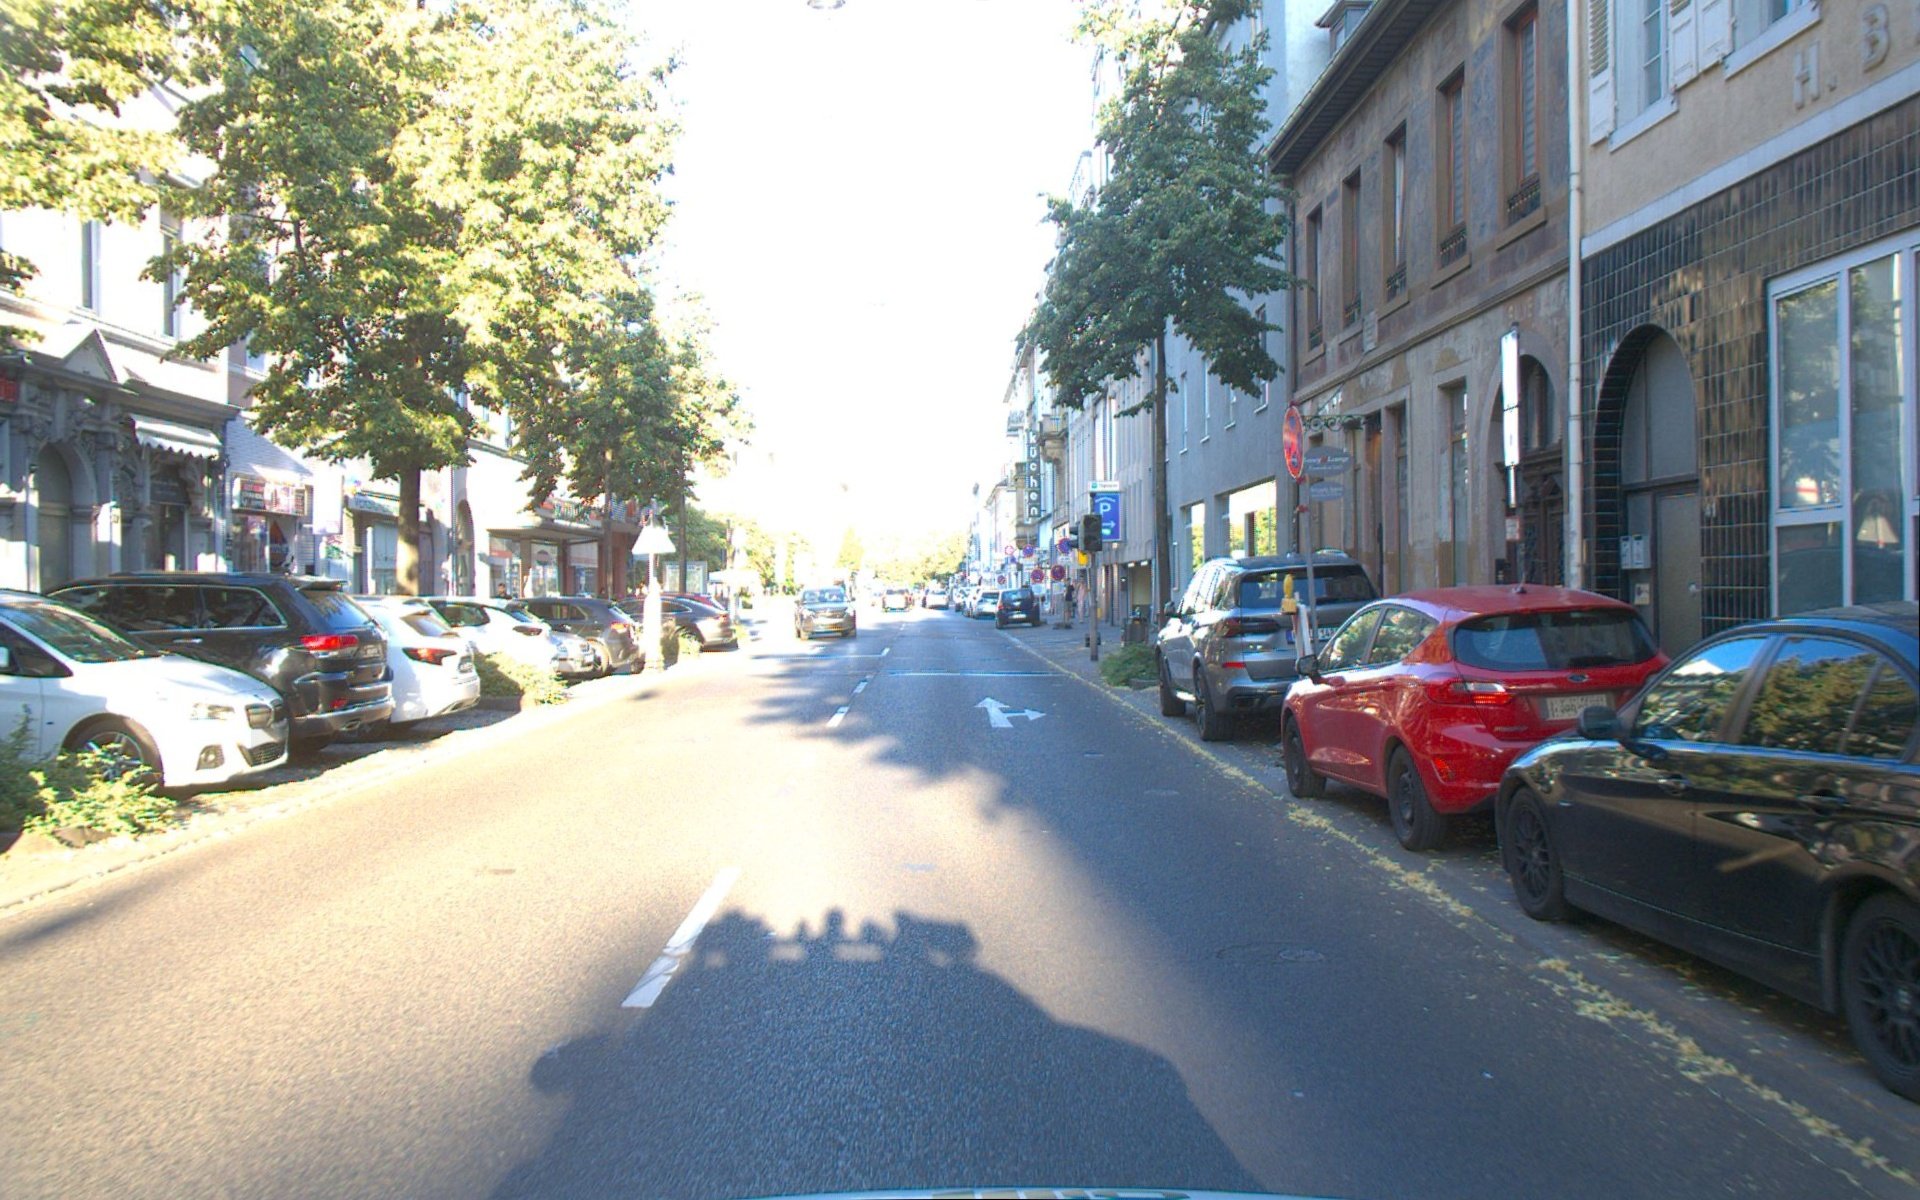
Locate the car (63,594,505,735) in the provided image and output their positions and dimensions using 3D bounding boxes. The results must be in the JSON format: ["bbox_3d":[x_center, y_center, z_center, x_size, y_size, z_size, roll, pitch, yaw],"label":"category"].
[{"bbox_3d":[-7.215,0.669,17.988,4.067,1.446,1.766,0,0,-4],"label":"car"}]

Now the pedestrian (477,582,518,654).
[{"bbox_3d":[-11.373,0.439,40.707,0.756,1.751,0.875,1,-1,-1],"label":"pedestrian"}]

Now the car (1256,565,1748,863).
[{"bbox_3d":[3.289,0.596,10.885,1.695,1.513,3.897,-3,1,-4],"label":"car"}]

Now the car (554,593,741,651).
[{"bbox_3d":[-7.975,0.545,42.484,4.479,1.432,1.821,0,0,-3],"label":"car"}]

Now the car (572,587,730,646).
[{"bbox_3d":[-8.449,0.440,45.522,3.990,1.563,1.884,0,0,-1],"label":"car"}]

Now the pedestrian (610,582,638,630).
[{"bbox_3d":[-11.108,0.211,54.656,0.719,1.555,0.875,1,-1,-1],"label":"pedestrian"}]

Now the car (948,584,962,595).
[{"bbox_3d":[-0.765,-1.494,236.813,1.858,1.608,3.850,-2,0,-2],"label":"car"}]

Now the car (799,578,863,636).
[{"bbox_3d":[-4.180,0.194,54.060,1.823,1.721,4.459,-1,2,-2],"label":"car"}]

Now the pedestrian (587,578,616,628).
[{"bbox_3d":[-11.796,0.105,54.480,0.756,1.636,0.875,1,-1,-1],"label":"pedestrian"}]

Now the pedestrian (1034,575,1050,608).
[{"bbox_3d":[4.433,-0.486,89.384,0.757,1.741,1.041,-2,0,-2],"label":"pedestrian"}]

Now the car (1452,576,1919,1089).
[{"bbox_3d":[3.627,0.656,6.272,1.913,1.414,4.421,-3,1,-4],"label":"car"}]

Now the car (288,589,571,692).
[{"bbox_3d":[-7.803,0.577,24.619,3.664,1.469,1.804,0,0,-4],"label":"car"}]

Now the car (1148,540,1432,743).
[{"bbox_3d":[3.315,0.357,17.636,1.997,1.767,4.711,-3,1,0],"label":"car"}]

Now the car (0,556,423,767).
[{"bbox_3d":[-7.270,0.529,15.195,4.067,1.804,1.889,0,0,-4],"label":"car"}]

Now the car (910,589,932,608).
[{"bbox_3d":[-3.431,-0.117,145.445,1.858,1.608,3.850,2,0,-2],"label":"car"}]

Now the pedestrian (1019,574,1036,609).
[{"bbox_3d":[3.656,-0.458,89.356,0.757,1.859,1.010,-2,0,-2],"label":"pedestrian"}]

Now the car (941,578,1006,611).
[{"bbox_3d":[0.722,-0.292,91.477,1.967,1.792,4.433,-1,0,-23],"label":"car"}]

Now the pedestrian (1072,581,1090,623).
[{"bbox_3d":[4.684,0.073,64.096,0.592,1.627,0.773,0,0,-2],"label":"pedestrian"}]

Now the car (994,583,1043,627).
[{"bbox_3d":[2.281,0.173,65.328,1.723,1.563,4.000,-4,0,0],"label":"car"}]

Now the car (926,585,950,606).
[{"bbox_3d":[-1.771,-0.352,132.119,1.858,1.609,3.999,1,0,-2],"label":"car"}]

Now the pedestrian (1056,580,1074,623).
[{"bbox_3d":[4.050,0.052,63.954,0.592,1.627,0.773,0,0,-2],"label":"pedestrian"}]

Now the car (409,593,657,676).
[{"bbox_3d":[-7.631,0.603,29.875,4.025,1.428,1.883,0,0,-4],"label":"car"}]

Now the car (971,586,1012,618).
[{"bbox_3d":[1.568,0.107,83.947,1.724,1.563,4.818,1,0,-3],"label":"car"}]

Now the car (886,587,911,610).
[{"bbox_3d":[-4.693,-0.109,125.809,1.858,1.678,4.103,0,0,-2],"label":"car"}]

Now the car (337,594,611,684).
[{"bbox_3d":[-8.049,0.626,27.644,4.013,1.428,1.843,0,0,0],"label":"car"}]

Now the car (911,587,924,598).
[{"bbox_3d":[-6.175,-1.101,240.466,1.743,1.574,3.998,0,0,-2],"label":"car"}]

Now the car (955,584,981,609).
[{"bbox_3d":[0.567,-0.241,117.876,1.695,1.679,4.283,1,0,-2],"label":"car"}]

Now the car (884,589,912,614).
[{"bbox_3d":[-4.262,0.086,114.216,1.858,1.678,4.103,0,0,-2],"label":"car"}]

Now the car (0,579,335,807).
[{"bbox_3d":[-7.366,0.658,12.825,4.317,1.624,1.889,0,1,-2],"label":"car"}]

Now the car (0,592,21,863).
[{"bbox_3d":[-7.535,0.727,8.405,4.458,1.510,1.743,0,0,-5],"label":"car"}]

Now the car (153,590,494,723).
[{"bbox_3d":[-7.646,0.656,20.129,3.485,1.528,1.715,0,0,-3],"label":"car"}]
